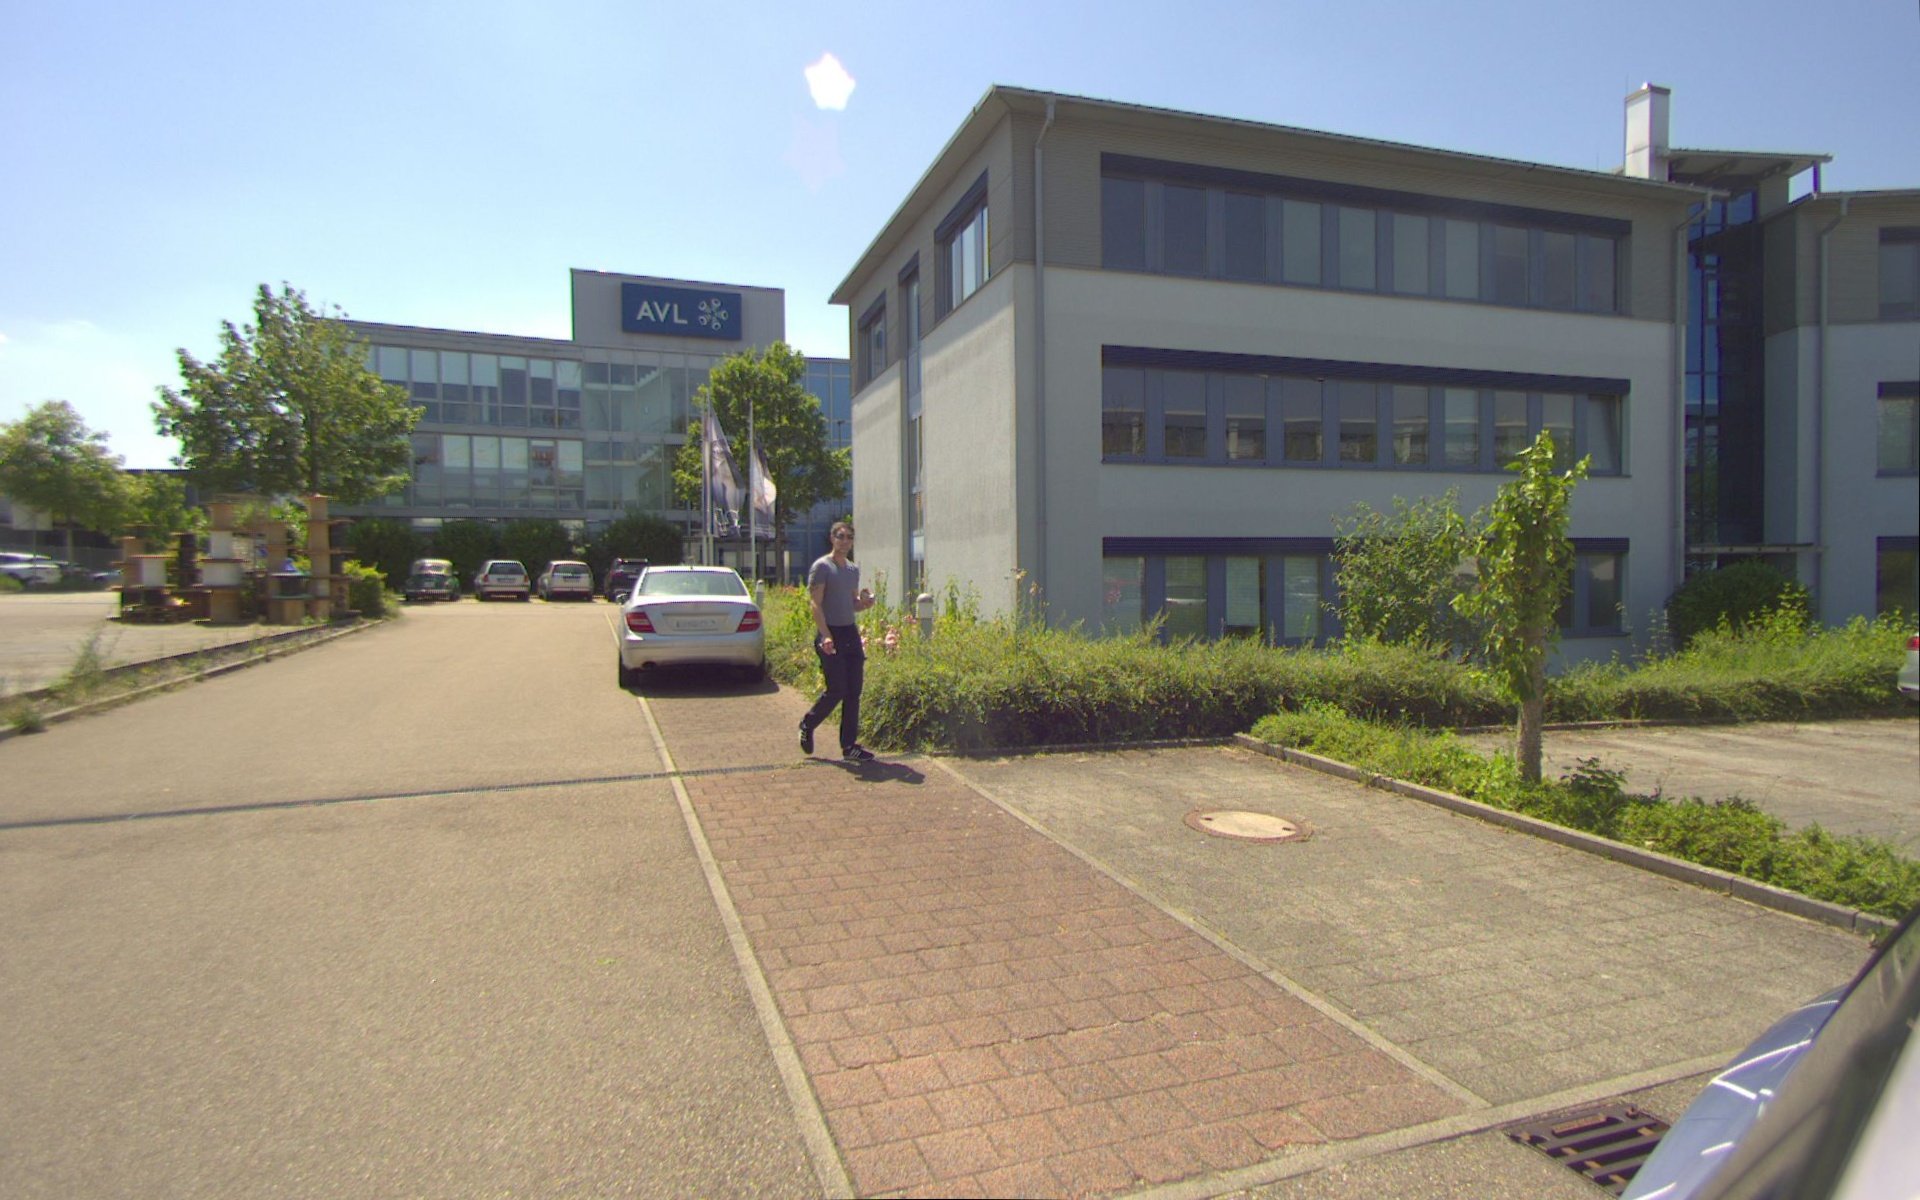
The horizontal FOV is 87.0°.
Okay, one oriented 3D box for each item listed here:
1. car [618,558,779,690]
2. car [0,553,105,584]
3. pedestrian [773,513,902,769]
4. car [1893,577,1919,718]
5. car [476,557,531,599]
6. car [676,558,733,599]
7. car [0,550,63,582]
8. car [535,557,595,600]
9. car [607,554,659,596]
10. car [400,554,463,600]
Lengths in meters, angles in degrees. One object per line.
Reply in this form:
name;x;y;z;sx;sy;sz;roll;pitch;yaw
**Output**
car;-3.530;0.224;13.198;1.693;1.454;3.725;0;1;-20
car;-44.416;-1.503;49.254;3.983;1.433;1.752;0;0;-8
pedestrian;-0.916;0.276;7.513;0.608;1.779;0.786;0;1;-43
car;11.967;0.587;9.371;1.791;1.515;4.531;0;2;-22
car;-16.932;-0.815;37.441;1.640;1.458;4.006;0;1;-28
car;-10.237;-0.854;40.356;1.713;1.538;4.008;0;1;-21
car;-43.708;-1.534;45.860;4.357;1.433;1.752;0;0;-8
car;-15.175;-0.829;38.749;1.714;1.538;4.006;0;1;-28
car;-12.736;-0.946;39.312;1.713;1.538;4.008;0;1;-21
car;-18.924;-0.818;36.370;1.713;1.538;4.008;0;1;-24
